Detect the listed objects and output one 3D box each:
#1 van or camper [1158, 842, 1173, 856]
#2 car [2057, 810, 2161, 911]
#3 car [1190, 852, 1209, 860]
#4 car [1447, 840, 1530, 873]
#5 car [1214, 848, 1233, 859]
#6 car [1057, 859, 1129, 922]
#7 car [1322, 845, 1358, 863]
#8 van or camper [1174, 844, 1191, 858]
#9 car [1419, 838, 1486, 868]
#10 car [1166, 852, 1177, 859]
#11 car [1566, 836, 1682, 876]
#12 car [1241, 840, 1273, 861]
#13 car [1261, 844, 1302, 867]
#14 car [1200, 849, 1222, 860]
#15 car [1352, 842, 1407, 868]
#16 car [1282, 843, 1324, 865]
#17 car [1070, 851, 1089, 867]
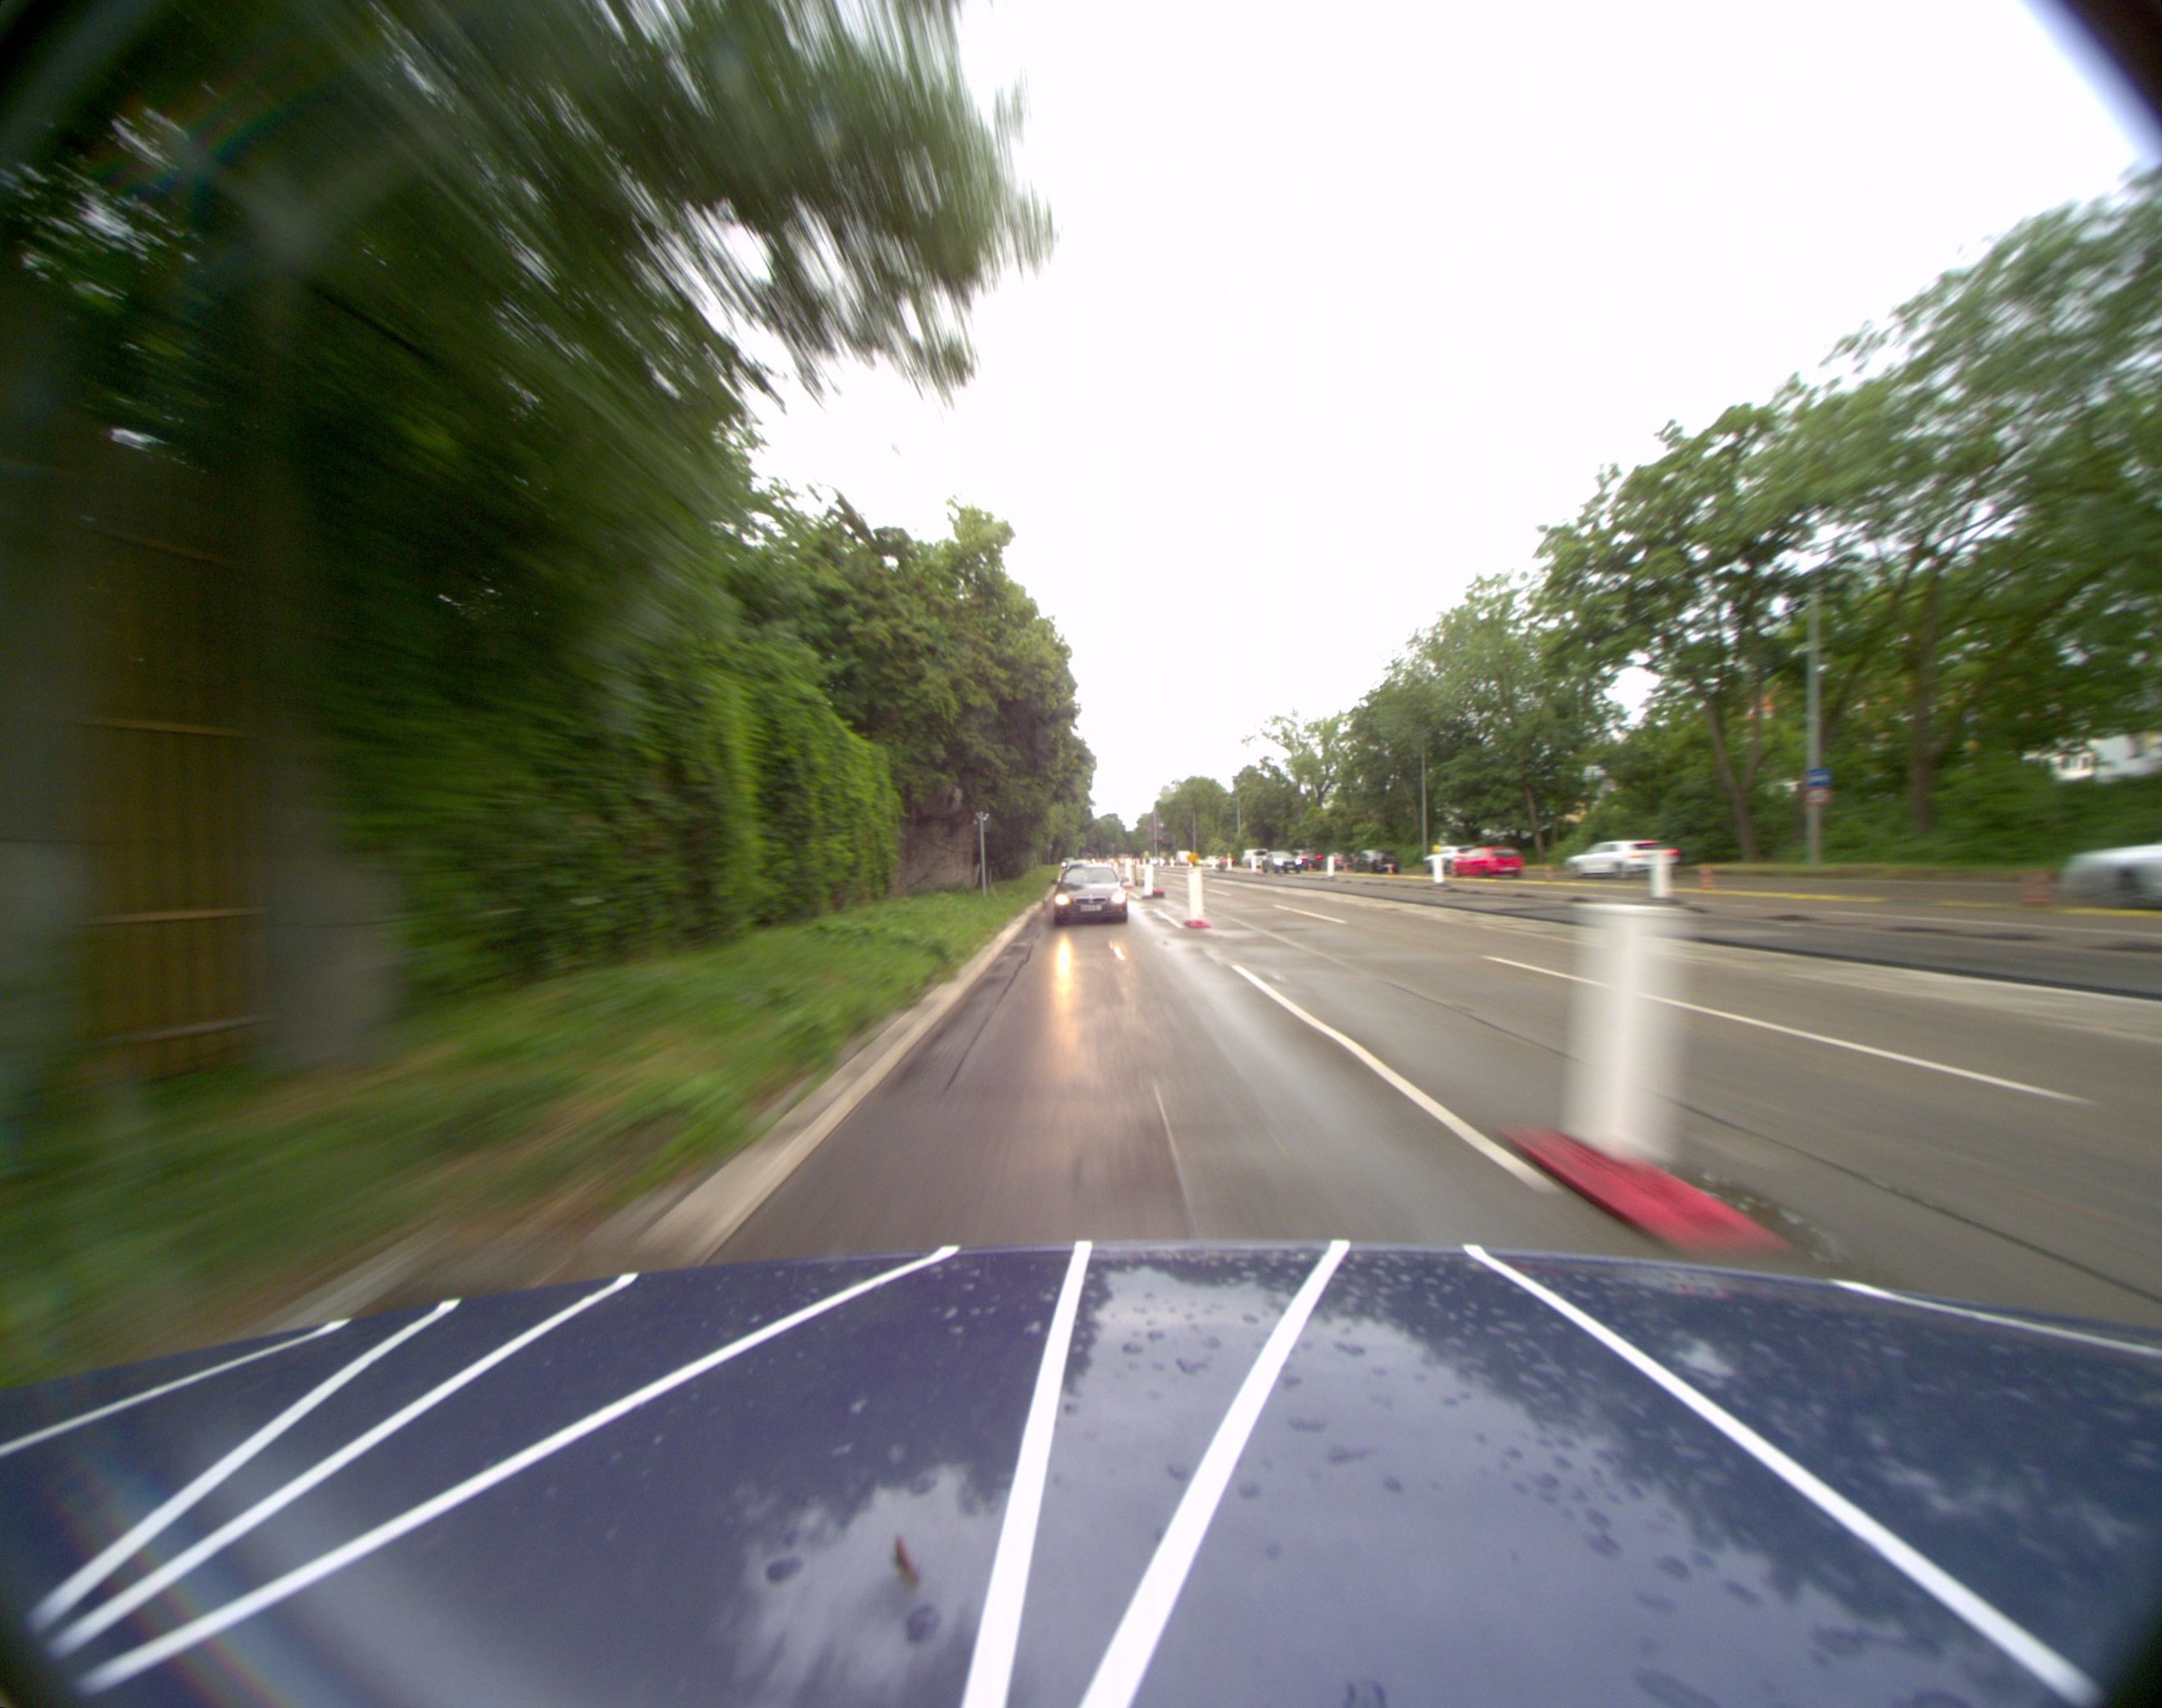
[{"bbox_3d":[19.648,-1.148,177.186,2.303,3.045,7.450,-2,1,-2],"label":"van or camper"},{"bbox_3d":[18.644,0.083,11.331,1.895,1.651,4.893,-2,0,0],"label":"car"},{"bbox_3d":[19.606,0.354,126.099,1.695,1.176,3.996,-3,0,-12],"label":"car"},{"bbox_3d":[18.821,0.100,35.314,1.683,1.392,4.012,-2,0,1],"label":"car"},{"bbox_3d":[20.302,-0.029,108.107,1.733,1.467,4.486,-1,0,-1],"label":"car"},{"bbox_3d":[0.238,0.868,19.715,1.658,1.409,4.128,-1,0,-1],"label":"car"},{"bbox_3d":[21.442,0.017,62.977,1.649,1.412,4.000,-2,0,1],"label":"car"},{"bbox_3d":[19.189,-0.614,143.551,1.999,2.540,7.729,-3,0,-1],"label":"van or camper"},{"bbox_3d":[21.661,-0.053,44.490,1.707,1.617,4.418,-2,0,0],"label":"car"},{"bbox_3d":[18.556,0.301,155.752,1.720,1.357,4.081,-1,0,-1],"label":"car"},{"bbox_3d":[21.594,0.078,30.433,1.683,1.487,4.149,0,0,1],"label":"car"},{"bbox_3d":[18.251,-0.352,79.121,1.999,1.960,4.901,-2,0,-2],"label":"car"},{"bbox_3d":[15.376,0.080,58.518,1.998,1.619,4.812,-2,0,2],"label":"car"},{"bbox_3d":[17.432,0.059,102.011,1.999,1.407,4.391,-1,0,-3],"label":"car"},{"bbox_3d":[18.823,0.055,48.132,1.781,1.479,4.196,-2,0,0],"label":"car"},{"bbox_3d":[18.524,0.019,63.543,2.026,1.715,5.012,-2,0,1],"label":"car"},{"bbox_3d":[-0.106,0.556,84.642,1.998,1.707,4.000,-1,1,1],"label":"car"}]
